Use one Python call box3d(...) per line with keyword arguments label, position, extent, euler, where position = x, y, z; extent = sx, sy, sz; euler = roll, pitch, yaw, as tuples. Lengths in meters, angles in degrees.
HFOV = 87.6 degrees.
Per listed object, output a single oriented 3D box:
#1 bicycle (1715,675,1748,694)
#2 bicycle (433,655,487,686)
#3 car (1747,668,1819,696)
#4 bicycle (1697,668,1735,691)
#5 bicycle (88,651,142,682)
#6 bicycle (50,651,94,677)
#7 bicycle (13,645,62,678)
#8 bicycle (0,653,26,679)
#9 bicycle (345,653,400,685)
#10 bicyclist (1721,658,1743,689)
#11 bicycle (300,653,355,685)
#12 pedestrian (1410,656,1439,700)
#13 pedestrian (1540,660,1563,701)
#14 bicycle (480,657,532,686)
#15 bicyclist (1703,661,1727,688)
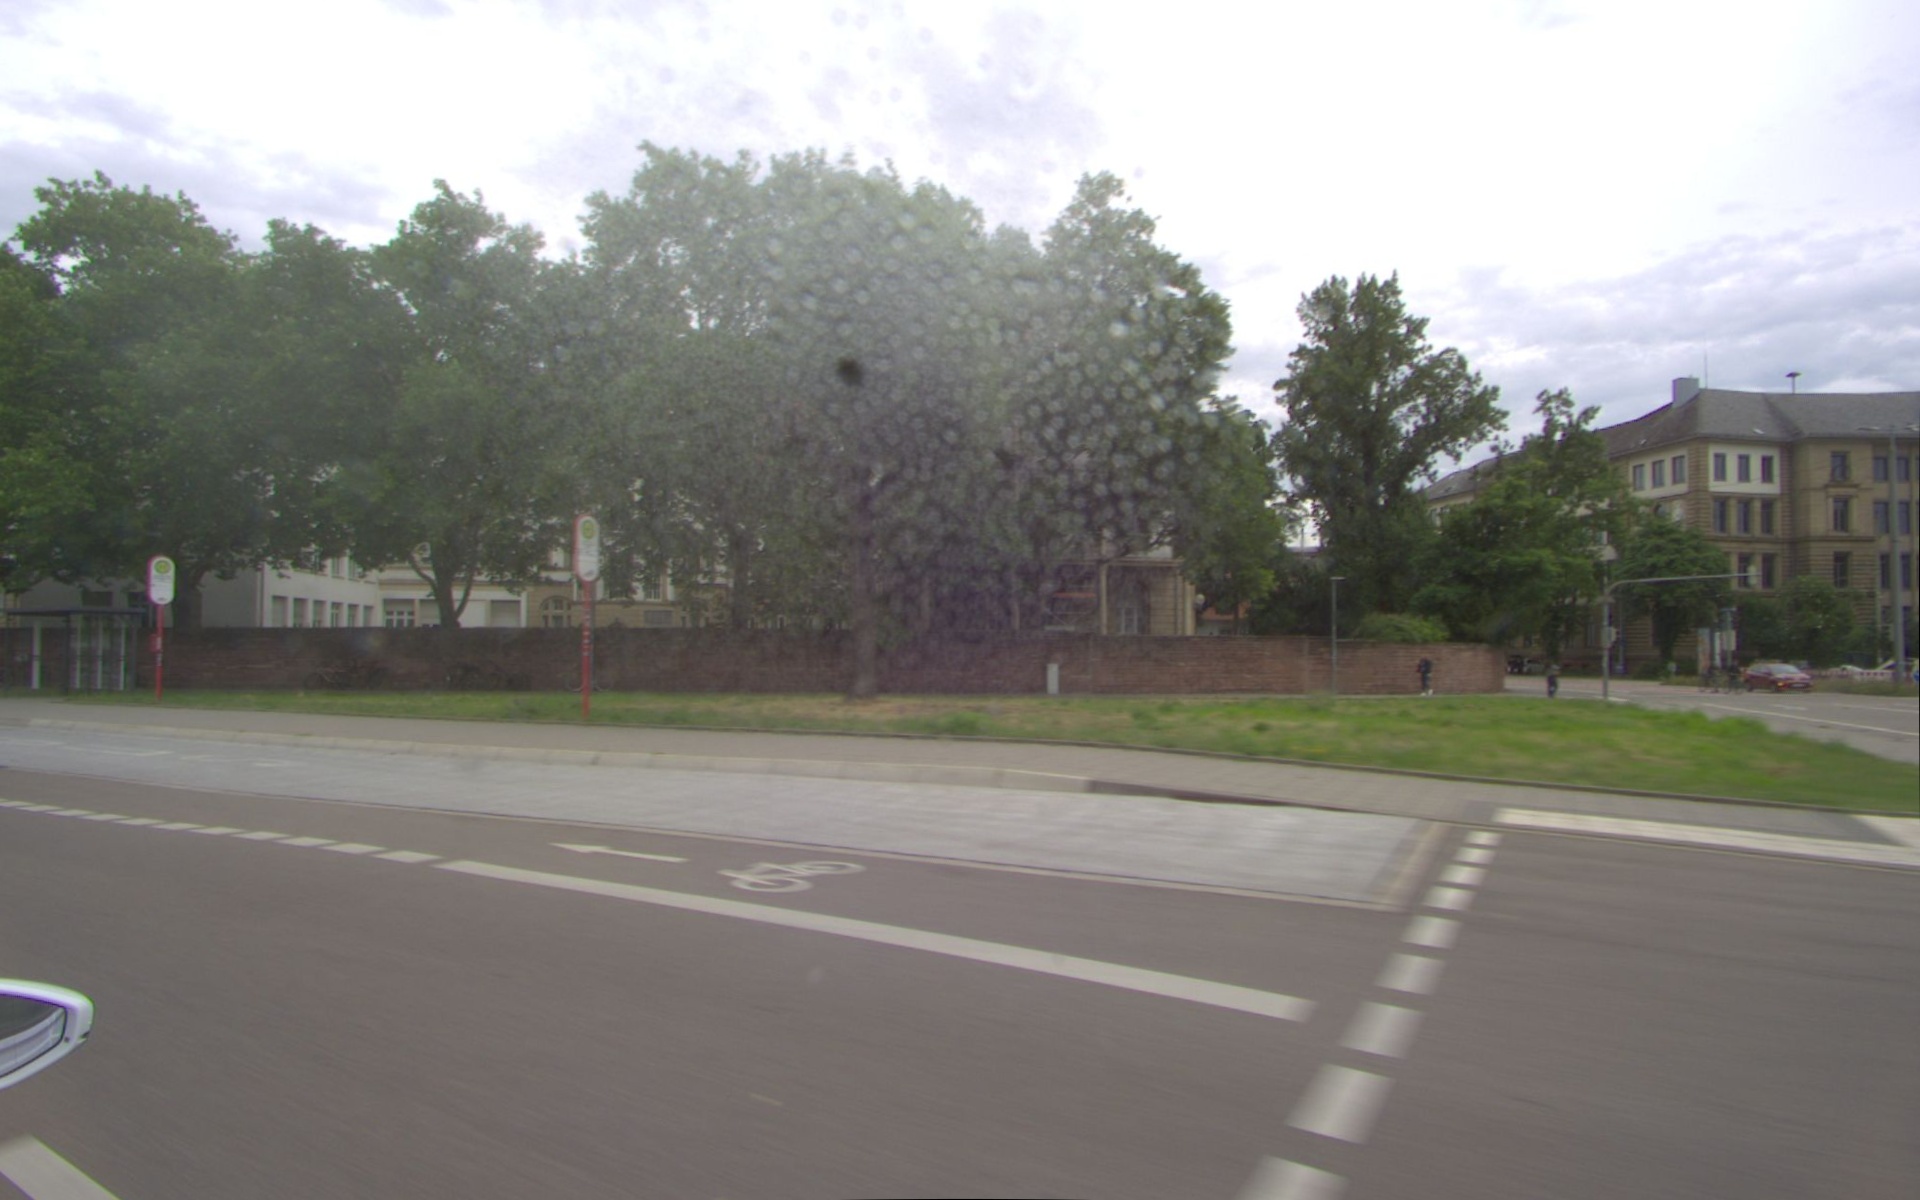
box3d(label="bicycle", position=(38.732, 4.240, 50.267), extent=(0.590, 0.830, 1.820), euler=(0, -1, 12))
box3d(label="bicycle", position=(-18.155, 2.563, 36.393), extent=(1.680, 1.073, 0.596), euler=(0, -1, 1))
box3d(label="car", position=(41.600, 4.126, 50.702), extent=(1.420, 1.171, 3.534), euler=(0, -1, 15))
box3d(label="bicycle", position=(39.786, 4.179, 52.724), extent=(0.778, 1.052, 2.220), euler=(0, -1, 13))
box3d(label="bicycle", position=(-31.526, 2.474, 37.347), extent=(1.623, 1.119, 0.598), euler=(0, -1, 7))
box3d(label="bicycle", position=(-33.817, 2.443, 38.122), extent=(1.496, 0.954, 0.417), euler=(0, -1, 10))
box3d(label="bicycle", position=(-35.381, 2.344, 38.398), extent=(1.596, 1.237, 0.500), euler=(0, -1, 10))
box3d(label="bicycle", position=(-37.150, 2.532, 38.684), extent=(1.736, 0.963, 0.655), euler=(0, -1, 10))
box3d(label="bicycle", position=(-21.507, 2.513, 36.693), extent=(1.680, 1.144, 0.596), euler=(0, -1, 1))
box3d(label="bicyclist", position=(38.732, 3.687, 50.231), extent=(0.590, 1.541, 0.782), euler=(0, -1, 12))
box3d(label="bicycle", position=(-23.207, 2.521, 36.751), extent=(1.680, 1.151, 0.596), euler=(0, -1, 1))
box3d(label="pedestrian", position=(19.238, 3.214, 41.439), extent=(0.811, 1.758, 0.754), euler=(0, -1, -28))
box3d(label="pedestrian", position=(24.675, 3.355, 41.791), extent=(0.684, 1.659, 0.866), euler=(0, -3, 41))
box3d(label="bicycle", position=(-16.462, 2.591, 36.324), extent=(1.605, 1.005, 0.551), euler=(0, -1, -1))
box3d(label="bicyclist", position=(39.790, 3.917, 52.754), extent=(0.778, 1.375, 0.740), euler=(0, -1, 14))
